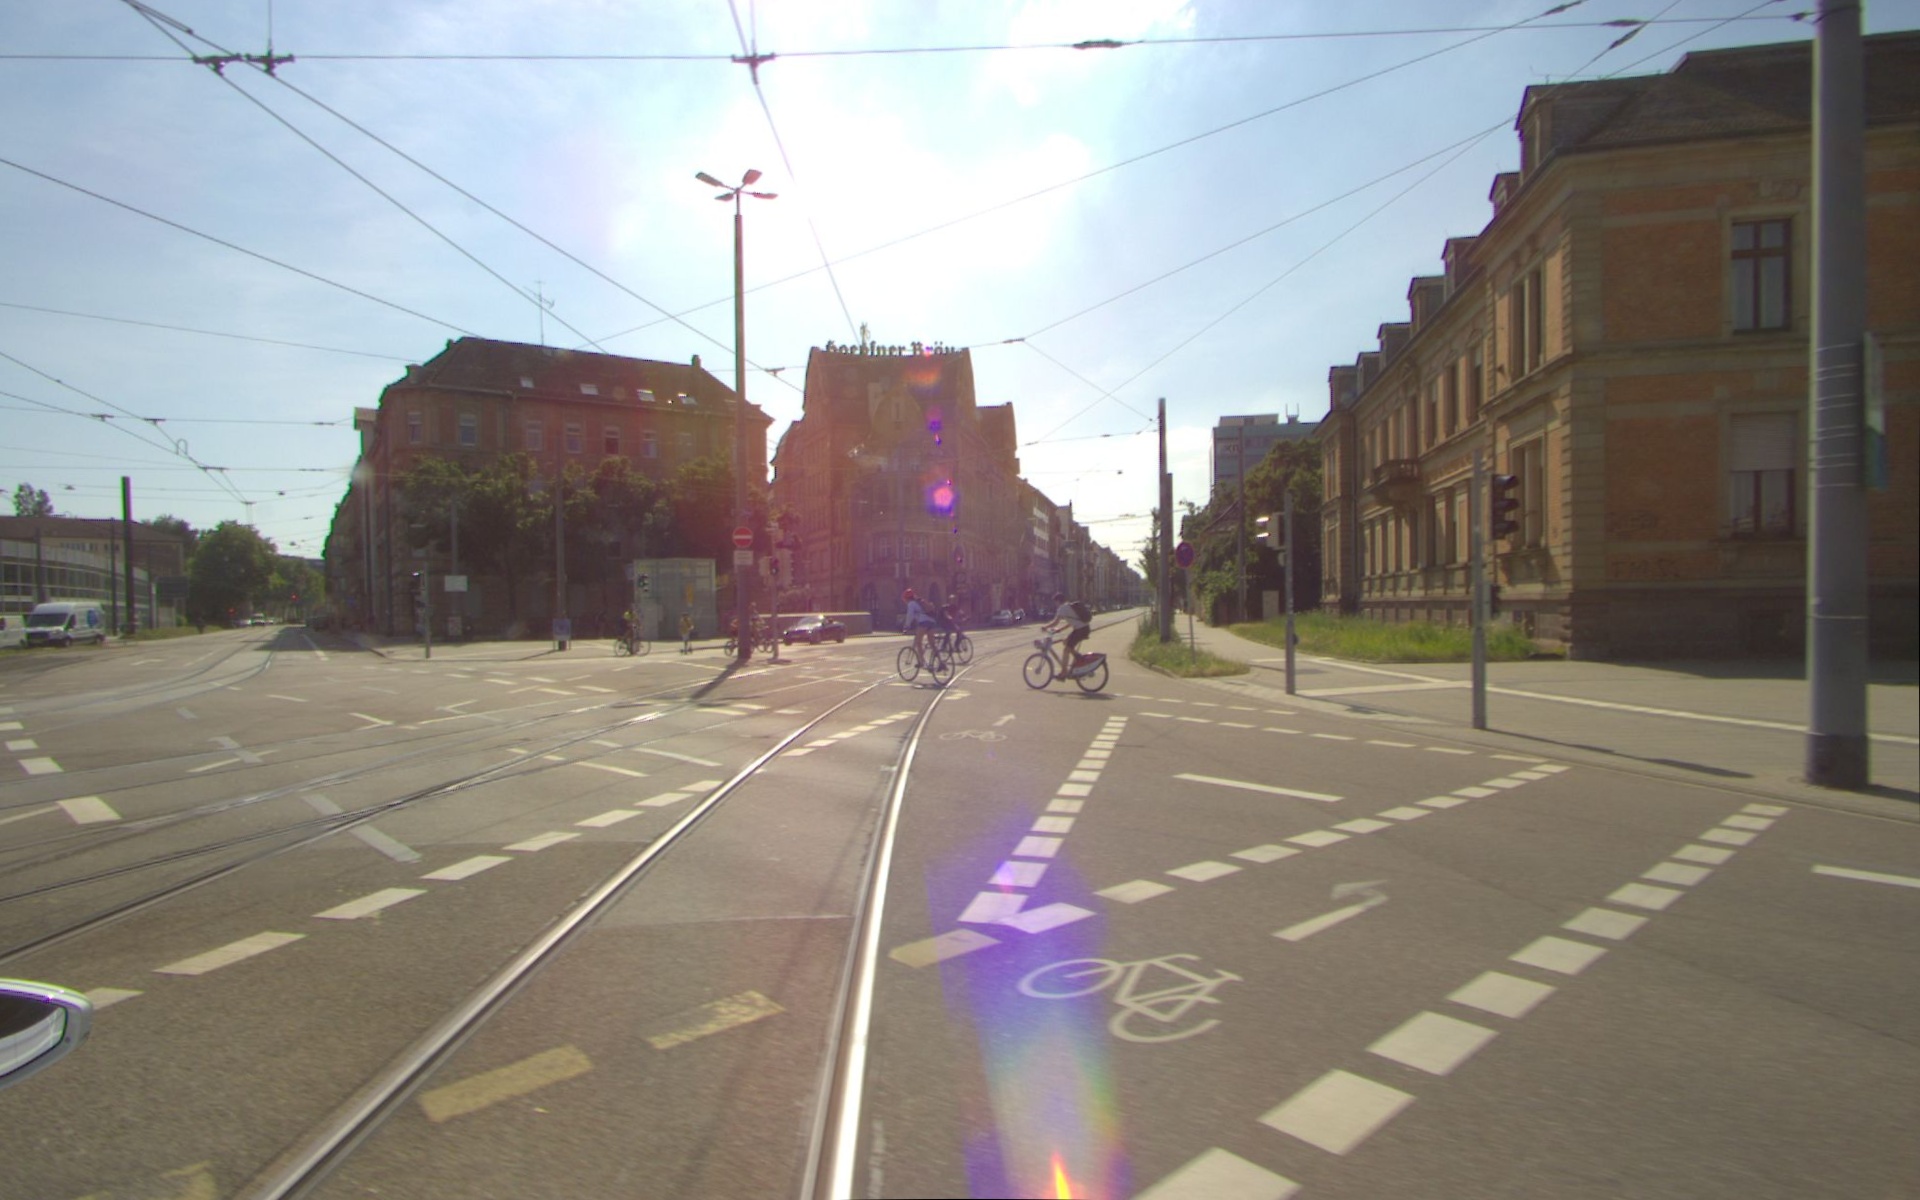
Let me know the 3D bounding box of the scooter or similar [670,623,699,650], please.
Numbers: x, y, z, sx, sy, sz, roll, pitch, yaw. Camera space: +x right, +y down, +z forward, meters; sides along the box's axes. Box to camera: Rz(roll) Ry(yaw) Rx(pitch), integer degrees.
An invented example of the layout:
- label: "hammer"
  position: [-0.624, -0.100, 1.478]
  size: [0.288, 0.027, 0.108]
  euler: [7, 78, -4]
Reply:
- label: "scooter or similar"
  position: [-10.224, 1.371, 37.120]
  size: [0.981, 0.988, 0.584]
  euler: [-2, -2, 41]

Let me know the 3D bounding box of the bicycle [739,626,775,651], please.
- label: "bicycle"
  position: [-7.396, 1.401, 36.440]
  size: [0.497, 0.877, 1.572]
  euler: [2, -2, -43]

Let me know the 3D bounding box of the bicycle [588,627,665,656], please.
- label: "bicycle"
  position: [-12.441, 1.541, 37.378]
  size: [2.697, 1.082, 0.929]
  euler: [0, -2, 17]

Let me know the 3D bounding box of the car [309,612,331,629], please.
- label: "car"
  position: [-79.085, 2.570, 123.714]
  size: [2.088, 2.039, 3.976]
  euler: [2, -3, -34]

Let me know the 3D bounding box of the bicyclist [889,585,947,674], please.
- label: "bicyclist"
  position: [-0.842, 0.572, 19.883]
  size: [0.708, 1.692, 0.867]
  euler: [-4, 2, -41]

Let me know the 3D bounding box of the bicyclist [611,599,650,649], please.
- label: "bicyclist"
  position: [-12.354, 0.912, 37.609]
  size: [1.033, 1.843, 0.928]
  euler: [0, -2, 18]

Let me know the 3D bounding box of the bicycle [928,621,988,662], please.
- label: "bicycle"
  position: [-0.081, 1.121, 27.462]
  size: [0.658, 1.083, 2.454]
  euler: [1, -1, -26]

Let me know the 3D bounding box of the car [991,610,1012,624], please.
- label: "car"
  position: [4.003, 1.624, 96.083]
  size: [1.607, 1.363, 3.581]
  euler: [-1, 0, 10]

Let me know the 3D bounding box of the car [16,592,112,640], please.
- label: "car"
  position: [-50.948, 0.986, 57.089]
  size: [2.179, 2.607, 5.860]
  euler: [1, -2, -22]

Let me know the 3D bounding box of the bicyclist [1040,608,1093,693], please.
- label: "bicyclist"
  position: [1.954, 0.914, 18.269]
  size: [0.932, 1.506, 0.717]
  euler: [0, -2, 7]

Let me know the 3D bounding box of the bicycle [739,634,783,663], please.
- label: "bicycle"
  position: [-6.517, 1.575, 32.761]
  size: [1.556, 0.898, 0.516]
  euler: [0, 1, 38]

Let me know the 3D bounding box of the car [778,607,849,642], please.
- label: "car"
  position: [-6.920, 1.147, 47.684]
  size: [1.610, 1.604, 3.990]
  euler: [-1, 0, 21]

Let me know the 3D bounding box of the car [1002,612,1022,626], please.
- label: "car"
  position: [5.352, 1.953, 103.347]
  size: [1.607, 1.363, 3.609]
  euler: [-1, 0, 10]

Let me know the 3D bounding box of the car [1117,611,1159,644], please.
- label: "car"
  position: [7.579, 1.142, 42.823]
  size: [1.640, 1.330, 3.451]
  euler: [0, 0, 8]

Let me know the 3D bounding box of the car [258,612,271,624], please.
- label: "car"
  position: [-134.917, 3.540, 194.352]
  size: [1.811, 2.242, 3.977]
  euler: [-1, 0, -31]

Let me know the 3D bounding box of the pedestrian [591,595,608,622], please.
- label: "pedestrian"
  position: [-20.205, 0.481, 56.137]
  size: [0.699, 1.451, 0.614]
  euler: [0, -2, 4]

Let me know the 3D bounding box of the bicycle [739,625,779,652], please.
- label: "bicycle"
  position: [-6.912, 1.318, 34.407]
  size: [1.568, 0.877, 0.498]
  euler: [0, -2, 40]

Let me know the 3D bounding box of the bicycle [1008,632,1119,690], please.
- label: "bicycle"
  position: [1.897, 1.099, 18.271]
  size: [1.982, 1.028, 0.717]
  euler: [0, -2, 8]

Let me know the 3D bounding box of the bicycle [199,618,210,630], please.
- label: "bicycle"
  position: [-80.621, 2.592, 106.830]
  size: [0.744, 1.209, 2.821]
  euler: [1, -3, -34]

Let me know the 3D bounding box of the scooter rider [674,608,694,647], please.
- label: "scooter rider"
  position: [-10.234, 1.021, 37.138]
  size: [0.402, 1.415, 0.584]
  euler: [-1, -2, 41]

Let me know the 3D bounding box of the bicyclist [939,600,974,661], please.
- label: "bicyclist"
  position: [-0.095, 0.839, 27.533]
  size: [0.658, 1.645, 0.779]
  euler: [1, -1, -26]

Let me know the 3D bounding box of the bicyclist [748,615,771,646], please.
- label: "bicyclist"
  position: [-6.892, 1.053, 34.397]
  size: [0.598, 1.042, 0.498]
  euler: [0, -1, 40]

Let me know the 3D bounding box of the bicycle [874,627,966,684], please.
- label: "bicycle"
  position: [-0.823, 1.083, 19.911]
  size: [0.708, 1.029, 2.003]
  euler: [-3, 1, -40]

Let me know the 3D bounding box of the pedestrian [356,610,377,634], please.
- label: "pedestrian"
  position: [-37.370, 1.386, 63.016]
  size: [0.870, 1.452, 0.712]
  euler: [-1, 0, 11]

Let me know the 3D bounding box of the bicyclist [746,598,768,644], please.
- label: "bicyclist"
  position: [-7.407, 0.779, 36.479]
  size: [0.497, 1.642, 0.643]
  euler: [2, -1, -43]

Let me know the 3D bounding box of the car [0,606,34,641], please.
- label: "car"
  position: [-48.123, 1.168, 49.413]
  size: [2.158, 1.702, 5.009]
  euler: [-1, 0, -26]

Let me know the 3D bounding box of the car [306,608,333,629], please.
- label: "car"
  position: [-63.125, 1.846, 98.658]
  size: [1.976, 2.039, 3.972]
  euler: [2, -3, -36]
